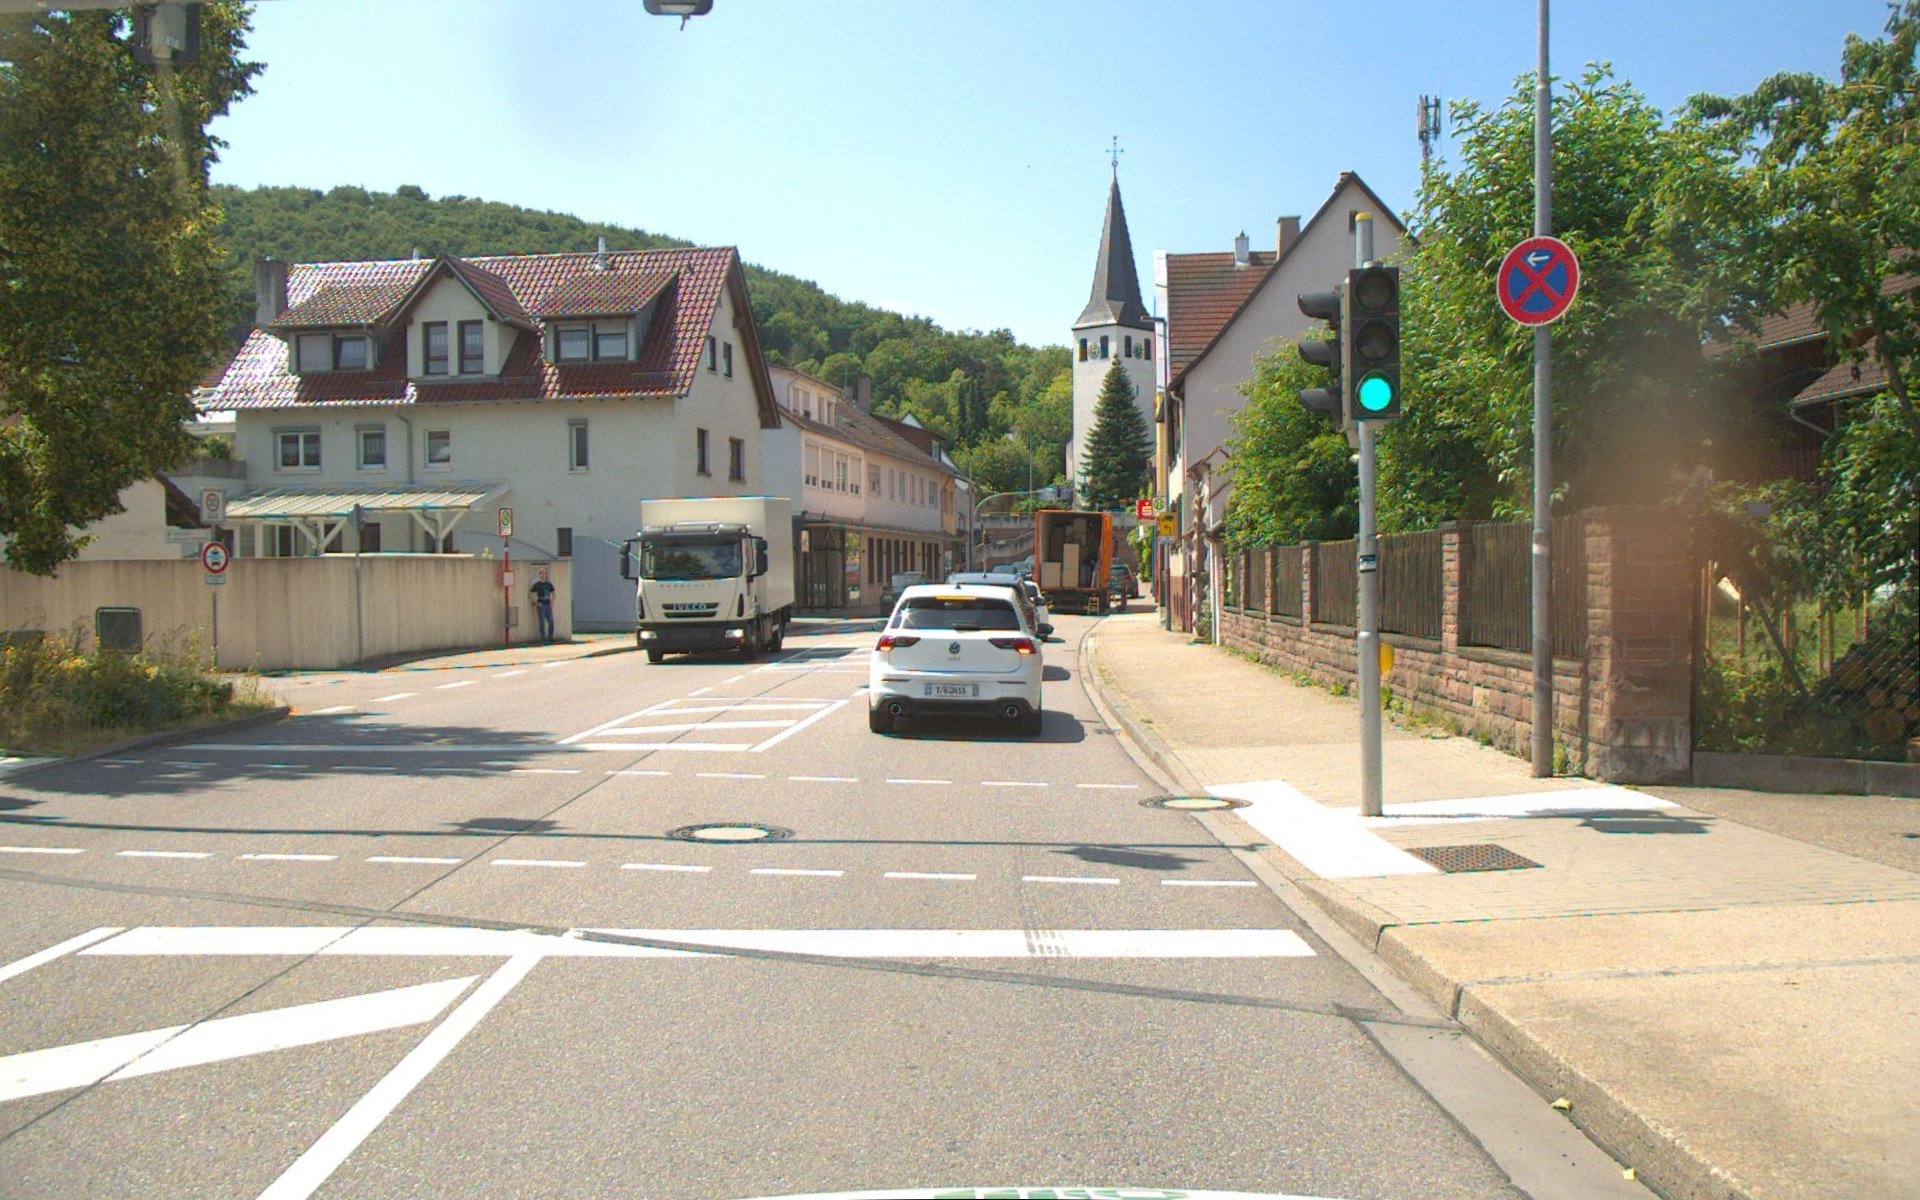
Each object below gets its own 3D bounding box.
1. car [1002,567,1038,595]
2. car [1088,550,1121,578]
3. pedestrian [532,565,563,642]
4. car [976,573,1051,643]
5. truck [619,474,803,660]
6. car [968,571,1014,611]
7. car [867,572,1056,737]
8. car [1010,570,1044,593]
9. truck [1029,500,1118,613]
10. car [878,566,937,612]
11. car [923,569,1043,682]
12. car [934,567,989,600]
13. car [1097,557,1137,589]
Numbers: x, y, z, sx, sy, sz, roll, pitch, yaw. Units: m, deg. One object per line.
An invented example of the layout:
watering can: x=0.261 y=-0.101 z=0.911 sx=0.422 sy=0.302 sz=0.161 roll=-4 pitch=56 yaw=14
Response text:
car: x=3.535 y=-1.123 z=97.238 sx=1.757 sy=1.534 sz=4.137 roll=-2 pitch=0 yaw=7
car: x=8.779 y=-2.169 z=100.674 sx=1.777 sy=1.545 sz=4.001 roll=-2 pitch=0 yaw=2
pedestrian: x=-9.753 y=0.078 z=39.082 sx=0.425 sy=1.795 sz=0.557 roll=-1 pitch=1 yaw=21
car: x=1.385 y=0.187 z=42.064 sx=1.777 sy=1.657 sz=4.001 roll=-2 pitch=0 yaw=2
truck: x=-4.799 y=-0.617 z=33.015 sx=2.450 sy=3.291 sz=6.042 roll=-2 pitch=0 yaw=2
car: x=1.312 y=-0.378 z=68.295 sx=1.777 sy=1.545 sz=4.001 roll=-2 pitch=0 yaw=2
car: x=0.095 y=0.504 z=17.606 sx=1.777 sy=1.545 sz=4.001 roll=0 pitch=0 yaw=2
car: x=4.508 y=-1.229 z=111.130 sx=1.823 sy=1.467 sz=4.221 roll=-2 pitch=0 yaw=8
truck: x=4.769 y=-1.711 z=68.479 sx=3.296 sy=4.242 sz=9.525 roll=-2 pitch=0 yaw=5
car: x=-1.987 y=-0.431 z=63.444 sx=1.702 sy=1.680 sz=3.671 roll=-1 pitch=1 yaw=7
car: x=0.435 y=0.380 z=27.252 sx=1.777 sy=1.657 sz=4.001 roll=-2 pitch=0 yaw=2
car: x=0.119 y=-0.771 z=78.253 sx=1.823 sy=1.467 sz=4.221 roll=-2 pitch=0 yaw=11
car: x=7.902 y=-1.343 z=83.504 sx=1.777 sy=1.545 sz=4.001 roll=-2 pitch=0 yaw=2
